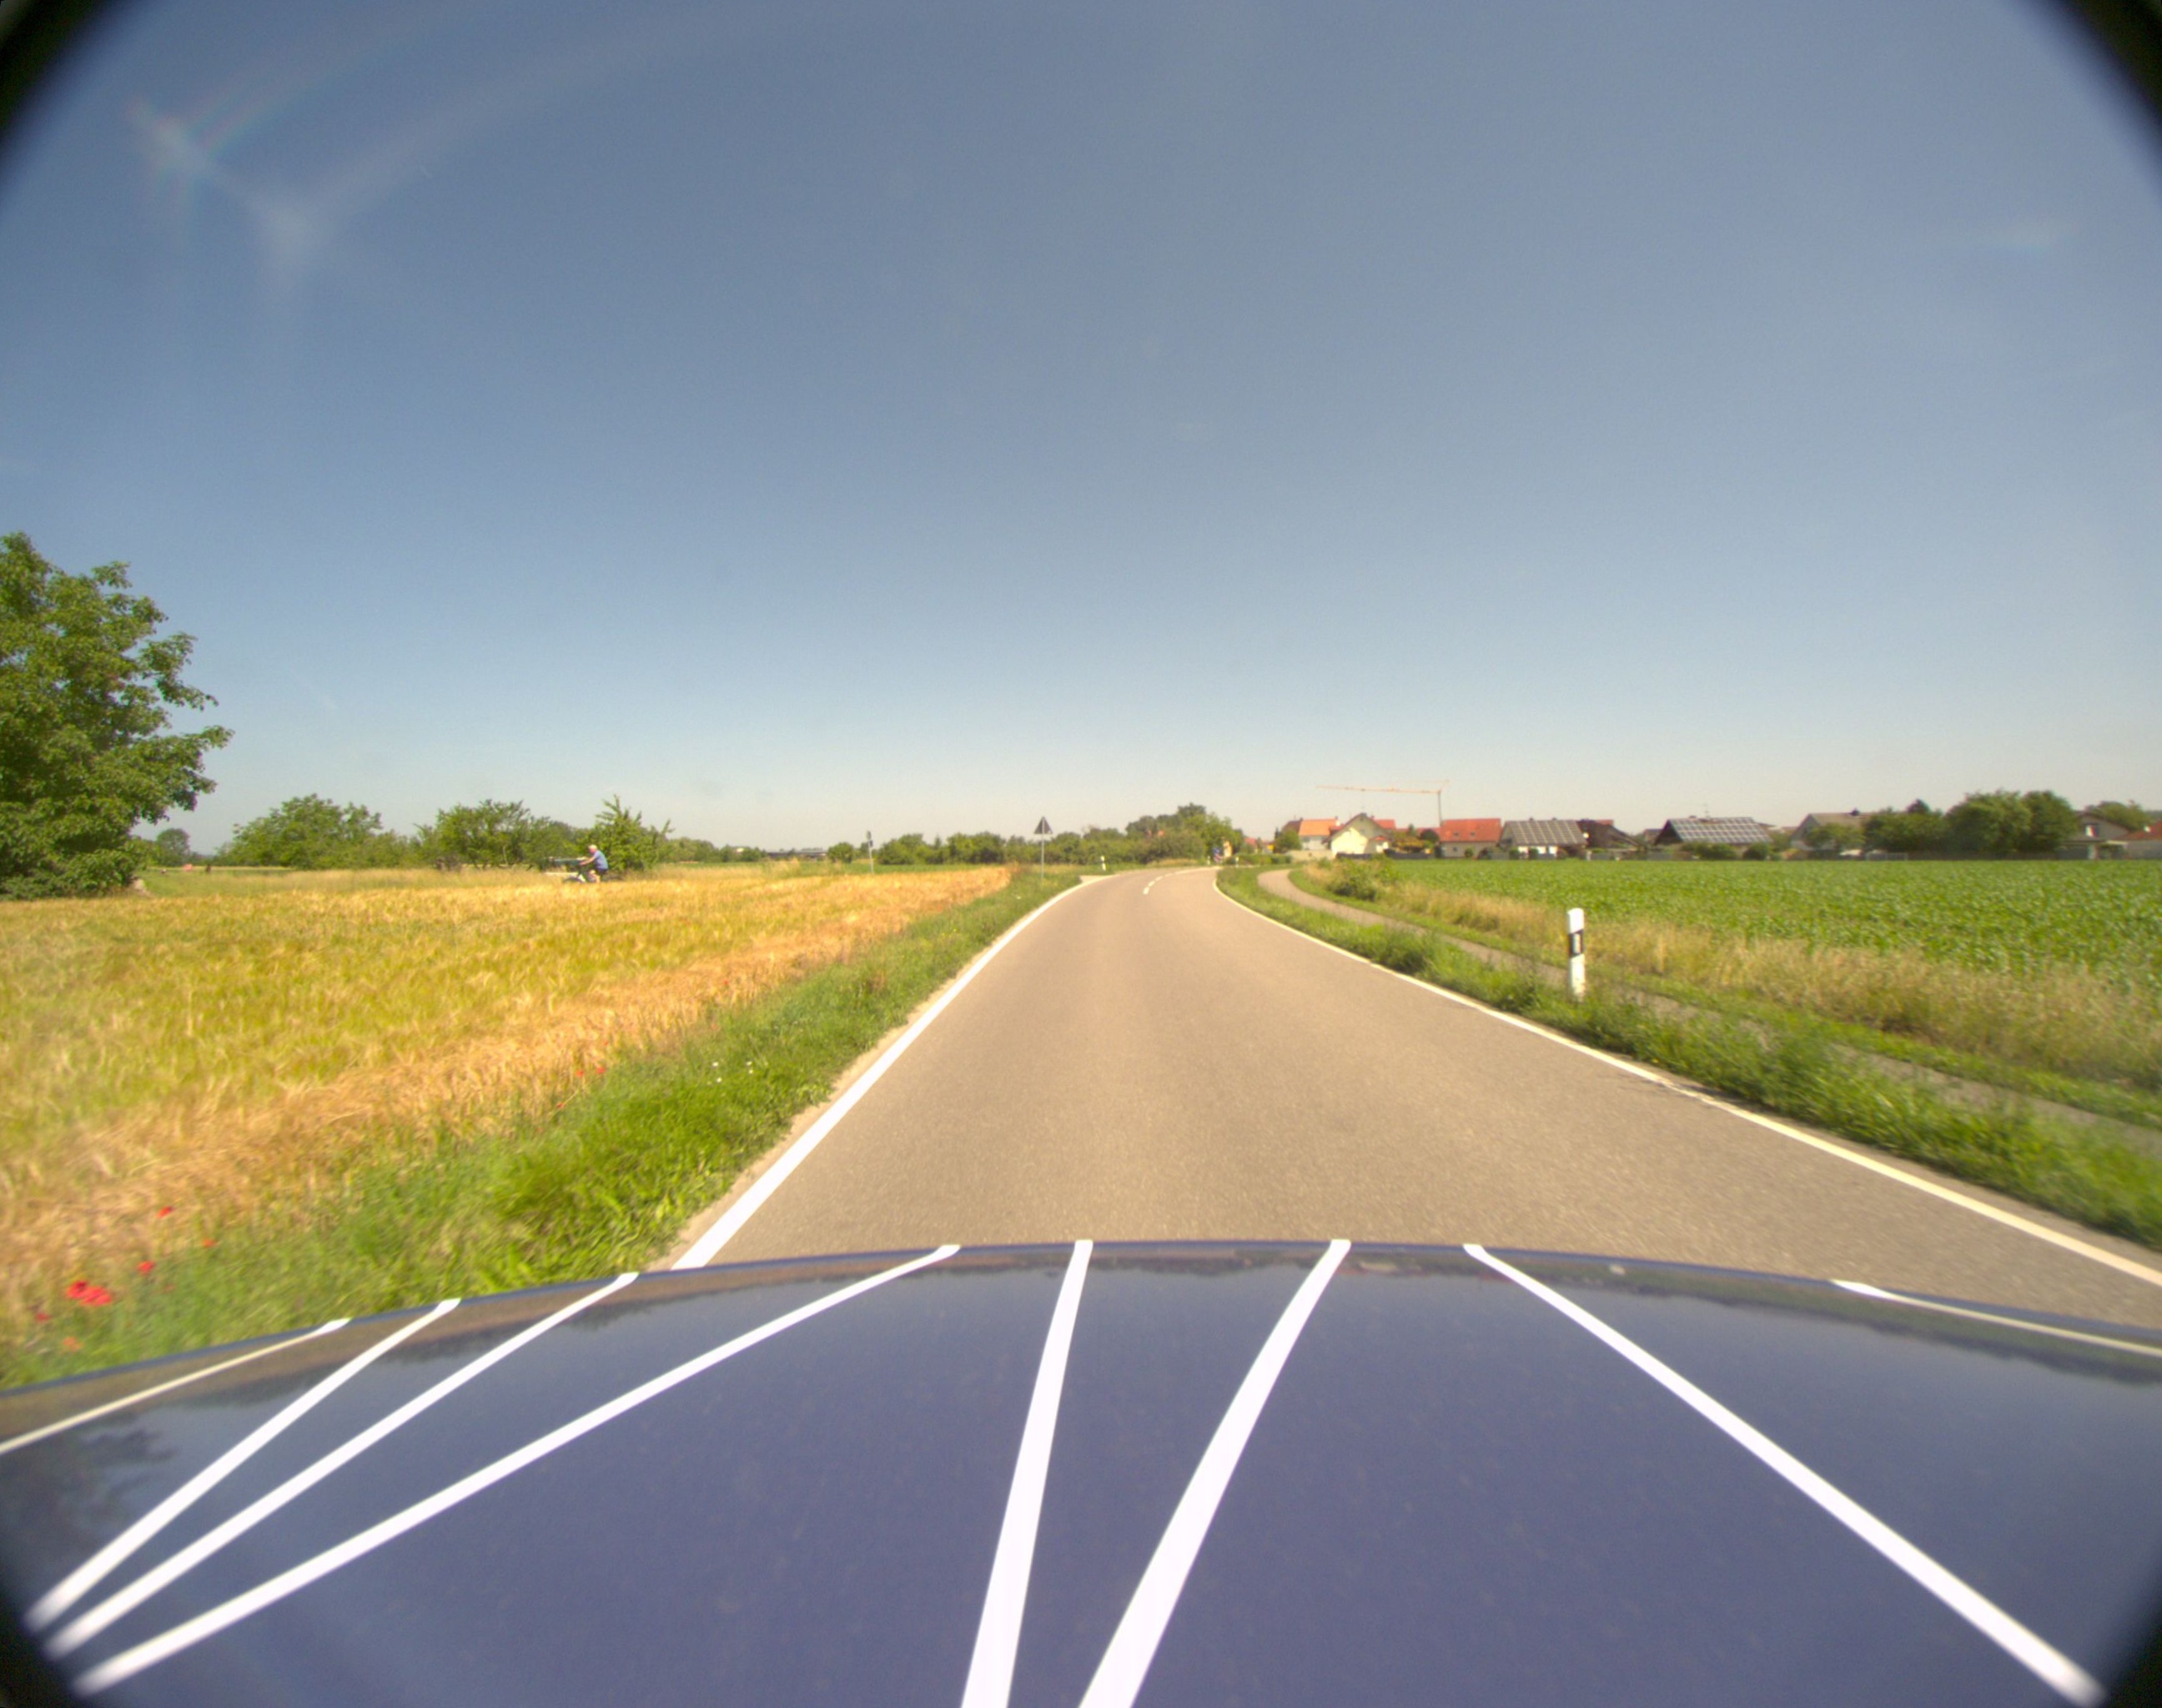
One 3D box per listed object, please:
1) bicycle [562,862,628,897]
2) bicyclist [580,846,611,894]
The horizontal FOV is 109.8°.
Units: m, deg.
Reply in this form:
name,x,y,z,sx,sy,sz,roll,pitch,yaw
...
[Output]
name,x,y,z,sx,sy,sz,roll,pitch,yaw
bicycle,-16.145,0.824,25.288,1.773,1.109,0.520,-1,1,-44
bicyclist,-16.146,0.512,25.284,0.737,1.564,0.672,-1,1,-44
